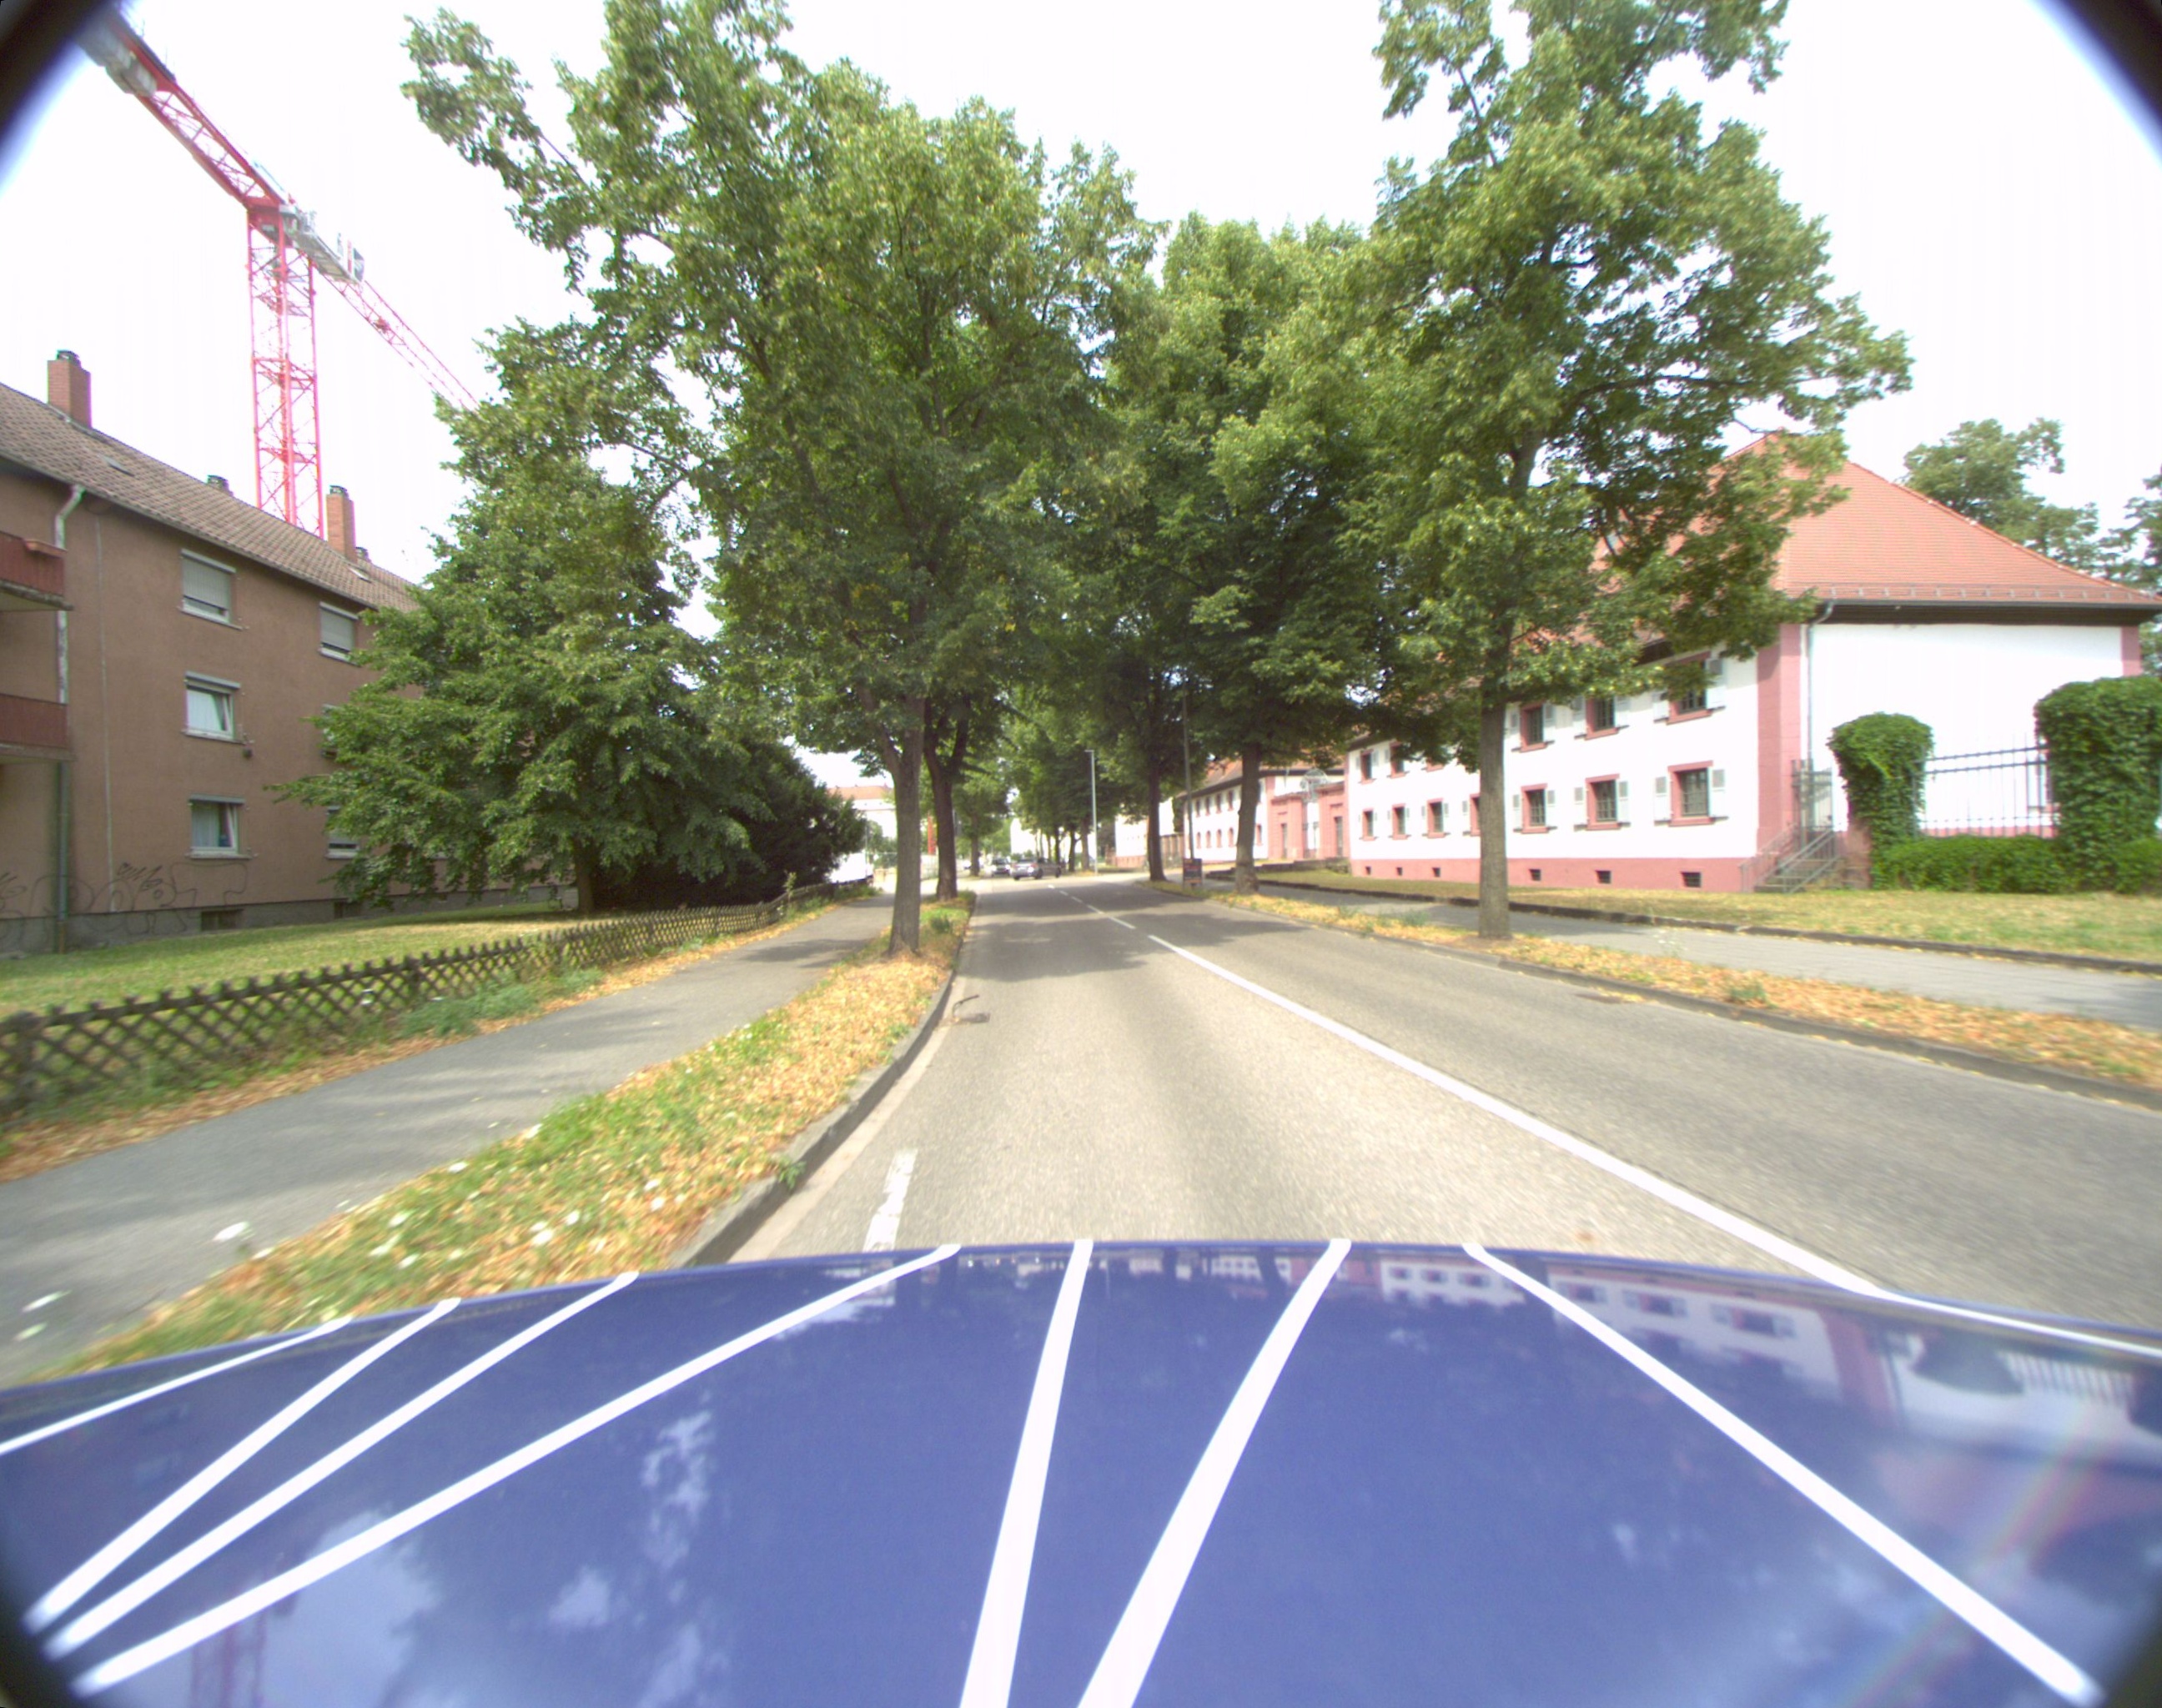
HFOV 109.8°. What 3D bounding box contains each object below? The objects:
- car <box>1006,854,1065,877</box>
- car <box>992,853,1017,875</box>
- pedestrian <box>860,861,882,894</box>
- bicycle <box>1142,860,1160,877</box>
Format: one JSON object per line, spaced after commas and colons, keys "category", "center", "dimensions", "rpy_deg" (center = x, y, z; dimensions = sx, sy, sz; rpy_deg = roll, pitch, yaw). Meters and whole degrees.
{"category": "car", "center": [-2.861, 0.774, 48.846], "dimensions": [2.006, 1.433, 4.394], "rpy_deg": [-1, -2, 23]}
{"category": "car", "center": [-7.393, 0.950, 73.232], "dimensions": [2.000, 2.001, 3.997], "rpy_deg": [2, -1, -10]}
{"category": "pedestrian", "center": [-11.551, 1.280, 41.845], "dimensions": [0.884, 1.803, 0.889], "rpy_deg": [0, 0, 12]}
{"category": "bicycle", "center": [4.851, 1.000, 52.944], "dimensions": [0.725, 1.088, 2.224], "rpy_deg": [-6, 0, -7]}
